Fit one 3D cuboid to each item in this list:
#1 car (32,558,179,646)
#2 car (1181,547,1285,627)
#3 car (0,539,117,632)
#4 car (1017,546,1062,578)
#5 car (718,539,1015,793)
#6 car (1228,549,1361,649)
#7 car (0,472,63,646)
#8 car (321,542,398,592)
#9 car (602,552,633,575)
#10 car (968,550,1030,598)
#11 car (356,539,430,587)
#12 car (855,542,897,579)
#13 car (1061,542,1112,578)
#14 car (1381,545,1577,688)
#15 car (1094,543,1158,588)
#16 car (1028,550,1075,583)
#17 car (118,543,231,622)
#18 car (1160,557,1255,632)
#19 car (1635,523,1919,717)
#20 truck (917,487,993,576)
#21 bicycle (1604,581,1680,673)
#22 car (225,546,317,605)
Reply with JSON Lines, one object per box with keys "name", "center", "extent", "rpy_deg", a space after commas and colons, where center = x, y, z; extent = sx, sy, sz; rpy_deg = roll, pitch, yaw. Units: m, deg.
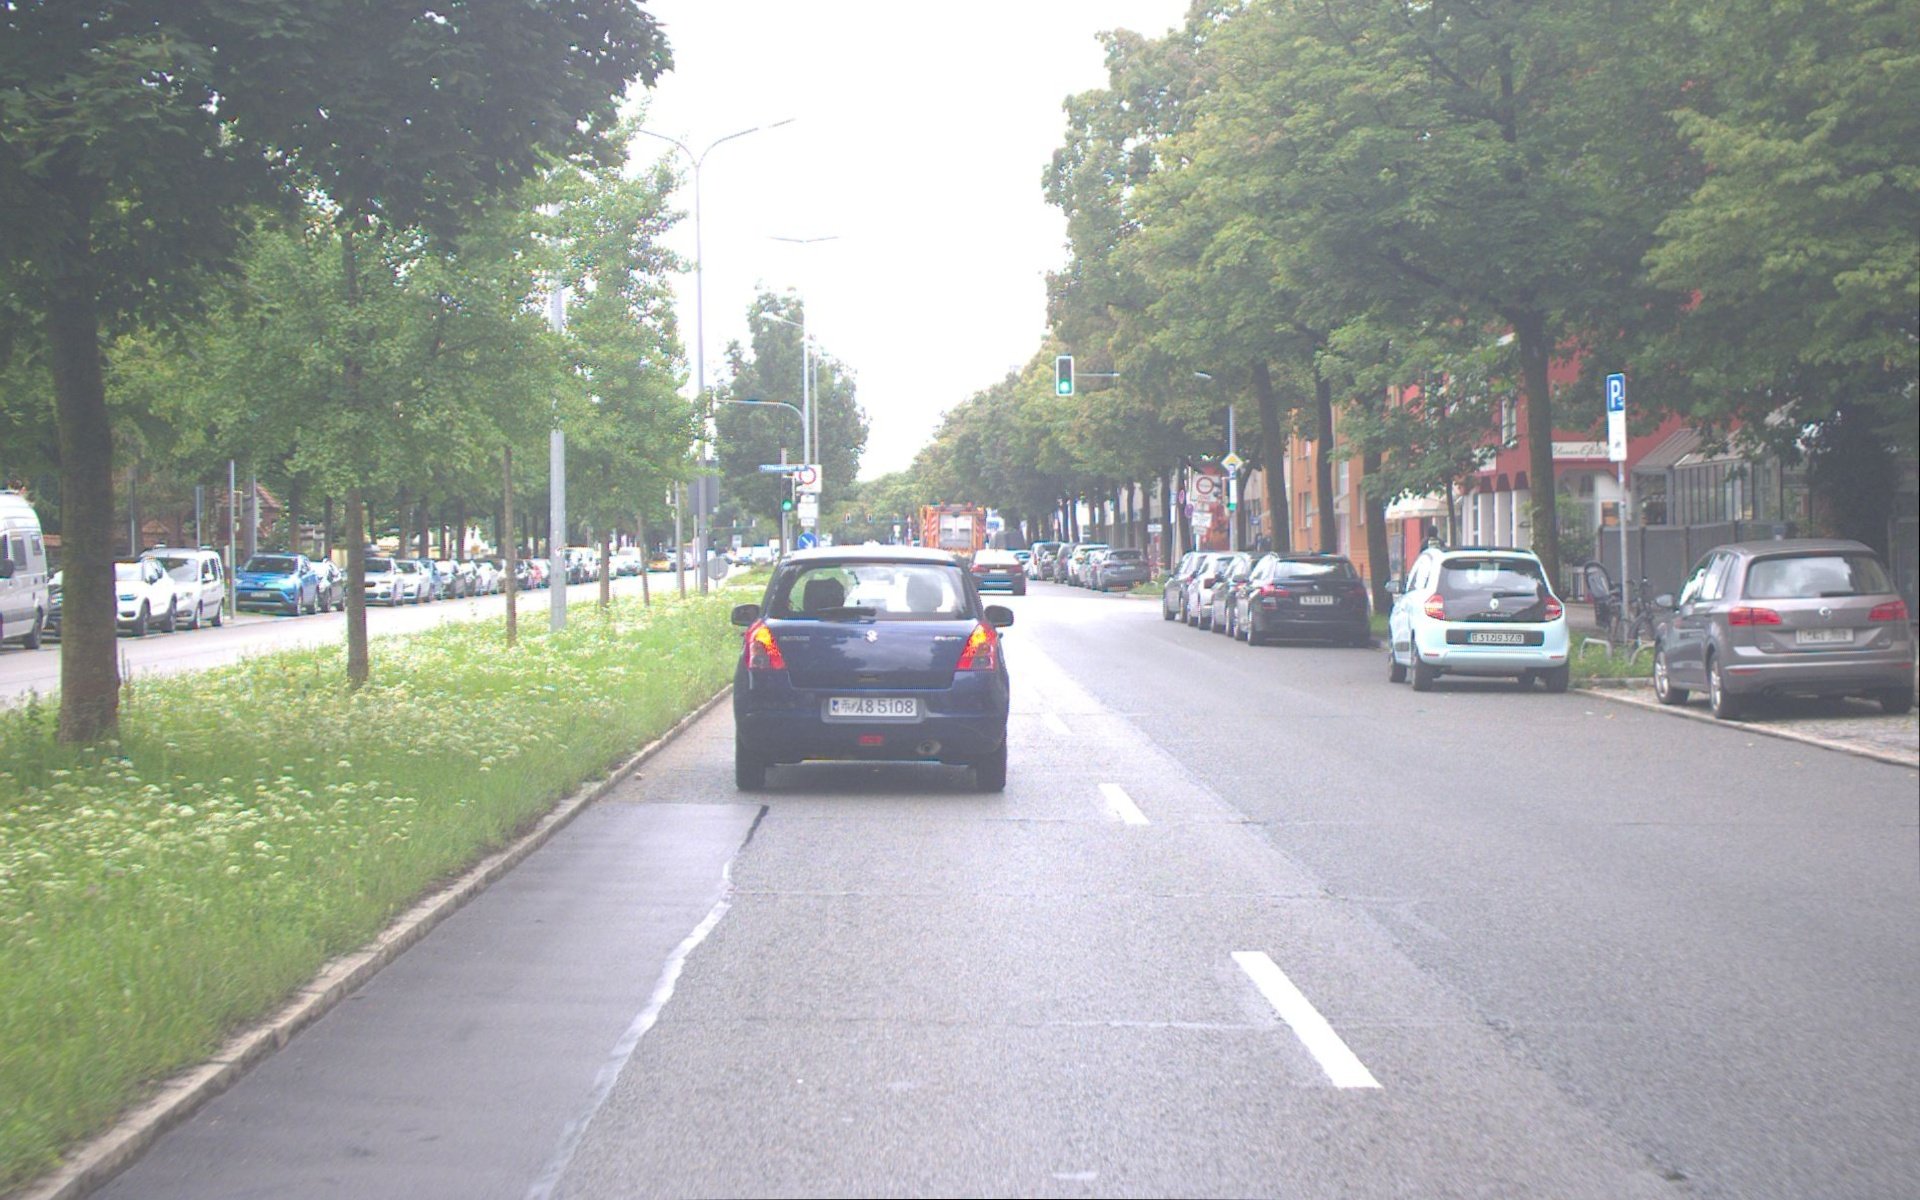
{"name": "car", "center": [-17.826, 0.014, 71.921], "extent": [2.185, 1.730, 4.579], "rpy_deg": [0, 1, -3]}
{"name": "car", "center": [5.116, -0.272, 64.853], "extent": [1.695, 1.447, 4.123], "rpy_deg": [0, 1, 1]}
{"name": "car", "center": [-18.020, -0.315, 67.216], "extent": [2.185, 1.730, 4.579], "rpy_deg": [0, 1, -3]}
{"name": "car", "center": [3.843, -1.841, 166.698], "extent": [1.993, 1.525, 4.000], "rpy_deg": [1, 1, -1]}
{"name": "car", "center": [-0.552, 0.355, 22.314], "extent": [1.753, 1.499, 4.000], "rpy_deg": [0, 1, 0]}
{"name": "car", "center": [5.238, -0.051, 54.292], "extent": [1.653, 1.447, 4.708], "rpy_deg": [-1, 1, 1]}
{"name": "car", "center": [-17.469, -0.738, 60.269], "extent": [2.185, 2.943, 6.193], "rpy_deg": [0, 1, -3]}
{"name": "car", "center": [-19.031, -1.060, 109.023], "extent": [1.801, 1.529, 4.000], "rpy_deg": [0, 1, -1]}
{"name": "car", "center": [-23.928, -2.570, 240.009], "extent": [1.801, 1.529, 4.000], "rpy_deg": [0, 1, -1]}
{"name": "car", "center": [1.252, -0.859, 111.419], "extent": [1.821, 1.472, 4.691], "rpy_deg": [2, 1, -1]}
{"name": "car", "center": [-18.655, -1.226, 113.262], "extent": [1.801, 1.529, 4.000], "rpy_deg": [0, 1, -1]}
{"name": "car", "center": [-3.494, -1.653, 143.807], "extent": [1.718, 1.495, 4.301], "rpy_deg": [0, 1, -1]}
{"name": "car", "center": [5.467, -1.741, 149.520], "extent": [1.993, 1.525, 4.000], "rpy_deg": [0, 1, -1]}
{"name": "car", "center": [5.671, 0.140, 37.946], "extent": [1.653, 1.447, 4.000], "rpy_deg": [-1, 1, 2]}
{"name": "car", "center": [5.816, -1.220, 120.806], "extent": [1.993, 1.525, 4.000], "rpy_deg": [0, 1, -1]}
{"name": "car", "center": [4.297, -1.601, 161.888], "extent": [1.993, 1.525, 4.000], "rpy_deg": [0, 1, -1]}
{"name": "car", "center": [-17.813, -0.424, 78.121], "extent": [1.706, 1.728, 4.000], "rpy_deg": [0, 1, -1]}
{"name": "car", "center": [5.023, -0.131, 70.231], "extent": [1.695, 1.447, 4.123], "rpy_deg": [0, 1, 1]}
{"name": "car", "center": [7.590, 0.130, 31.815], "extent": [1.815, 1.620, 4.308], "rpy_deg": [-2, 1, 0]}
{"name": "truck", "center": [-0.202, -2.877, 144.571], "extent": [3.041, 3.545, 13.675], "rpy_deg": [0, 1, 0]}
{"name": "bicycle", "center": [7.566, 0.287, 38.188], "extent": [0.448, 0.977, 1.799], "rpy_deg": [0, 1, -1]}
{"name": "car", "center": [-18.414, -0.679, 92.058], "extent": [1.706, 1.529, 4.000], "rpy_deg": [0, 1, -1]}
